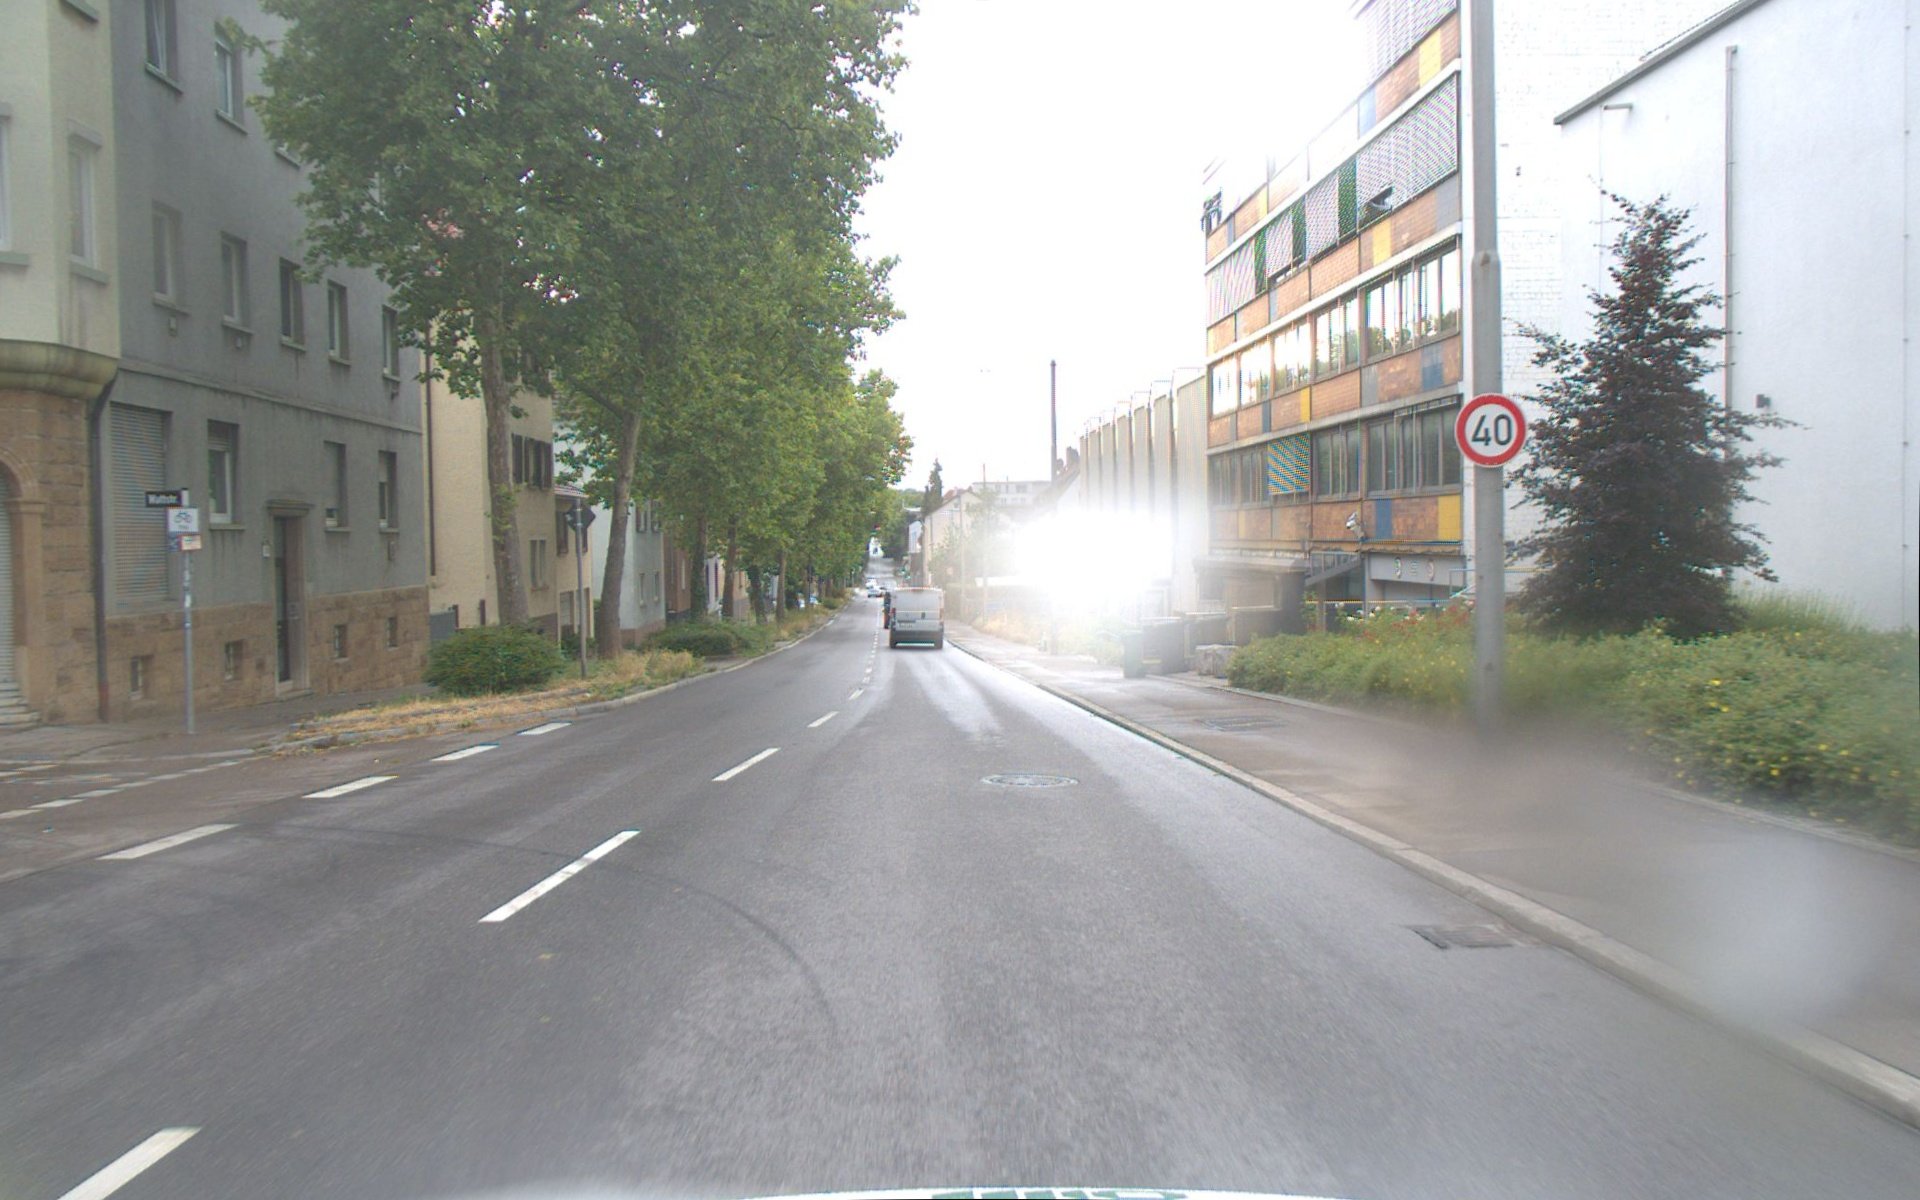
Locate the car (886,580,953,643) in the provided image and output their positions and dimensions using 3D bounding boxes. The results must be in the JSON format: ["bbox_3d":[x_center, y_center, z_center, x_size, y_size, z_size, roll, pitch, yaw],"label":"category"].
[{"bbox_3d":[-1.611,0.395,63.704,2.300,2.197,4.774,-2,2,-4],"label":"car"}]

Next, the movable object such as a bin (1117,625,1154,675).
[{"bbox_3d":[3.589,1.014,33.888,0.607,0.953,0.686,-4,0,-1],"label":"movable object such as a bin"}]

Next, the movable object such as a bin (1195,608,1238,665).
[{"bbox_3d":[5.298,0.750,34.173,0.681,1.101,0.778,-4,0,-1],"label":"movable object such as a bin"}]

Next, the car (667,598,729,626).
[{"bbox_3d":[-18.317,0.831,115.835,4.113,1.925,1.999,-1,0,-4],"label":"car"}]

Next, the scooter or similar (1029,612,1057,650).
[{"bbox_3d":[2.631,0.978,52.756,0.593,1.182,1.697,-1,0,-7],"label":"scooter or similar"}]

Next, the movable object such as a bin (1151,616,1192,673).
[{"bbox_3d":[4.350,0.908,34.079,0.681,1.101,0.778,-4,0,-1],"label":"movable object such as a bin"}]

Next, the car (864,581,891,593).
[{"bbox_3d":[-10.840,-1.742,218.441,1.953,1.604,3.998,0,1,24],"label":"car"}]
